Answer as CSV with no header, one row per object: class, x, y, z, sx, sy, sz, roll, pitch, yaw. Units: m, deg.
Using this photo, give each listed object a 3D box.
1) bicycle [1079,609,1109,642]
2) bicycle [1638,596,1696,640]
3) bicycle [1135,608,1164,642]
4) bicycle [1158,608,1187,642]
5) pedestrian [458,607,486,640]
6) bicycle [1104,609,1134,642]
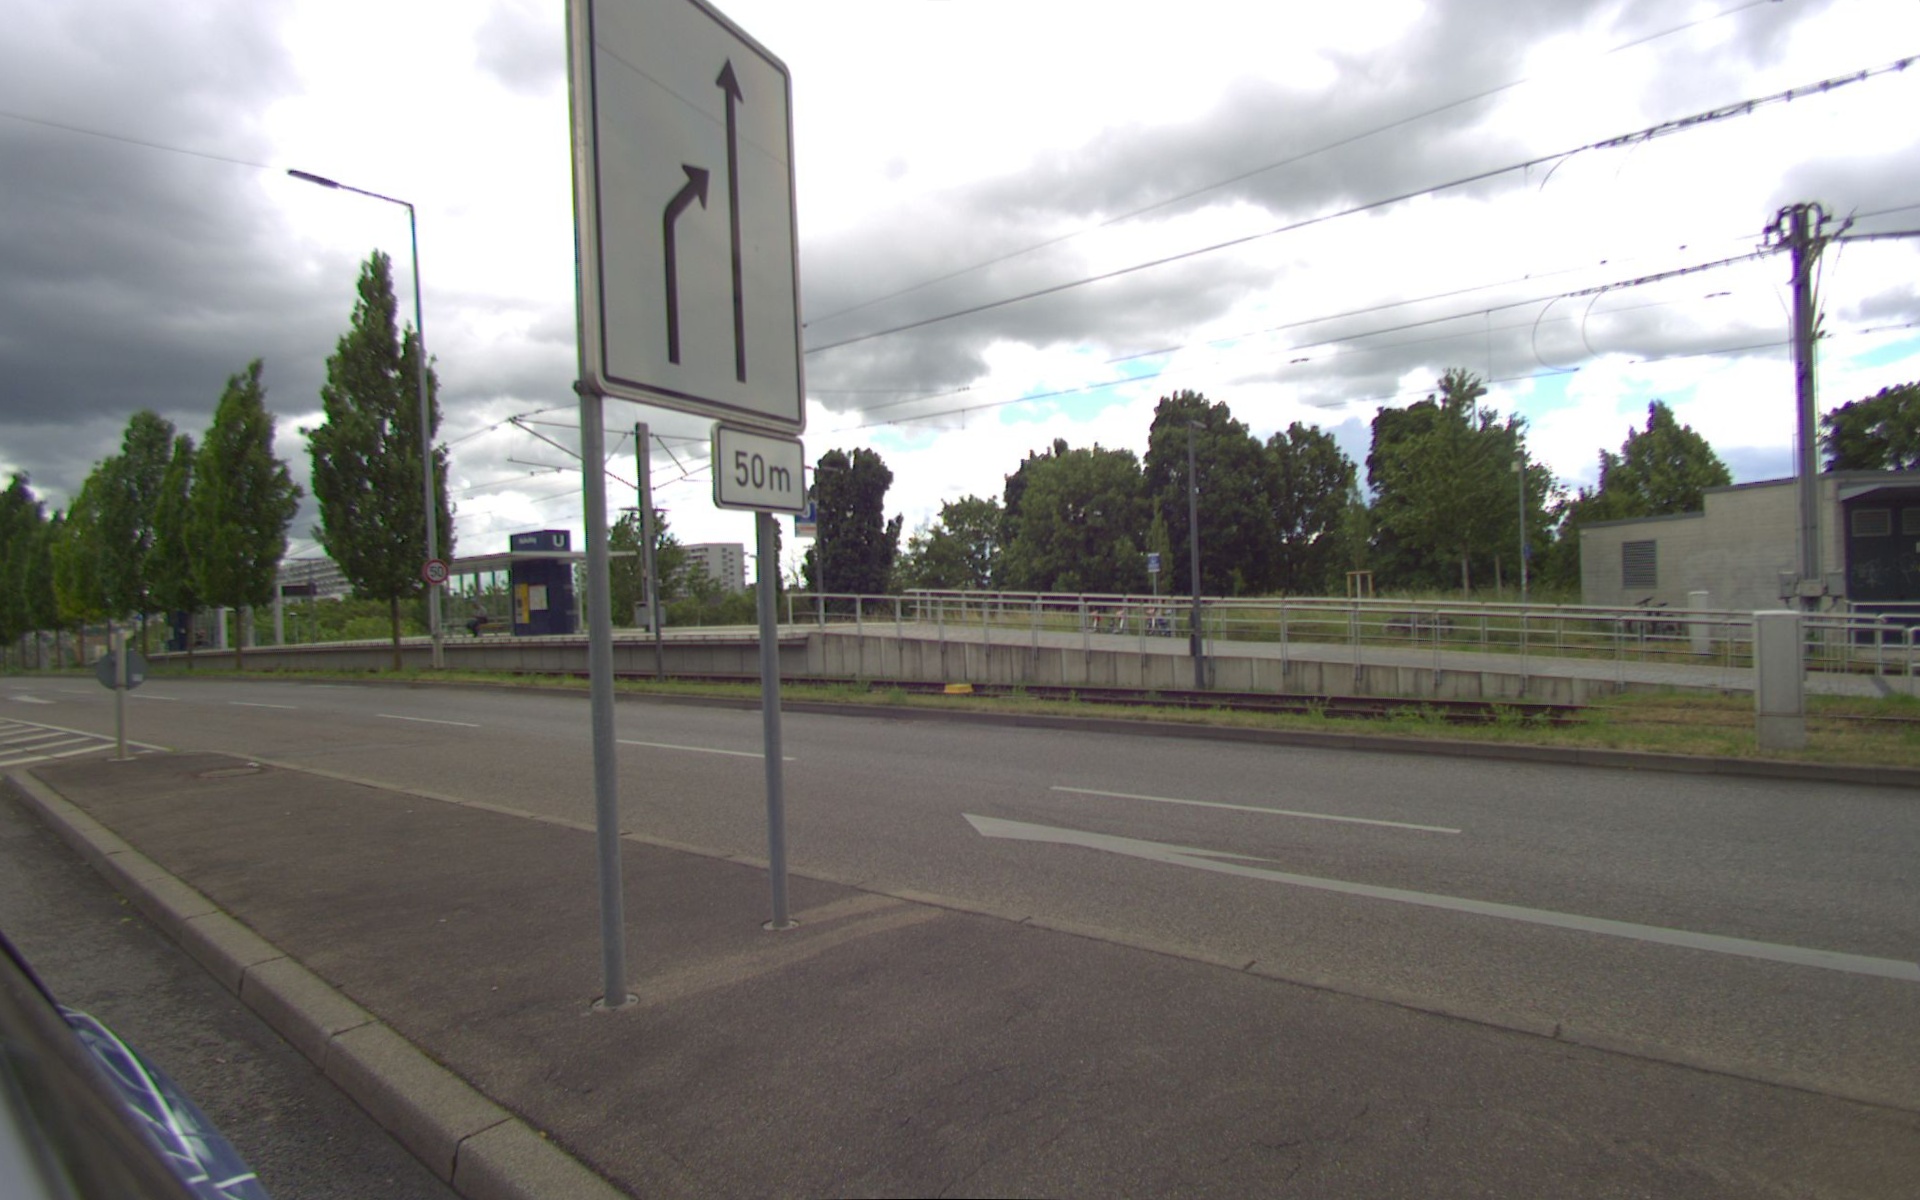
bicycle,4.675,0.889,35.157,0.490,1.095,1.466,-2,-1,30
bicycle,18.186,0.458,26.055,0.486,1.095,1.480,-1,-1,3
bicycle,6.372,0.818,33.944,0.490,1.095,1.466,-2,-1,30
bicycle,7.038,0.816,33.463,0.490,1.095,1.466,-2,-1,30
pedestrian,-18.259,0.880,37.869,0.781,1.211,0.656,-2,-1,33
bicycle,5.432,0.868,34.455,0.490,1.095,1.466,-2,-1,30
